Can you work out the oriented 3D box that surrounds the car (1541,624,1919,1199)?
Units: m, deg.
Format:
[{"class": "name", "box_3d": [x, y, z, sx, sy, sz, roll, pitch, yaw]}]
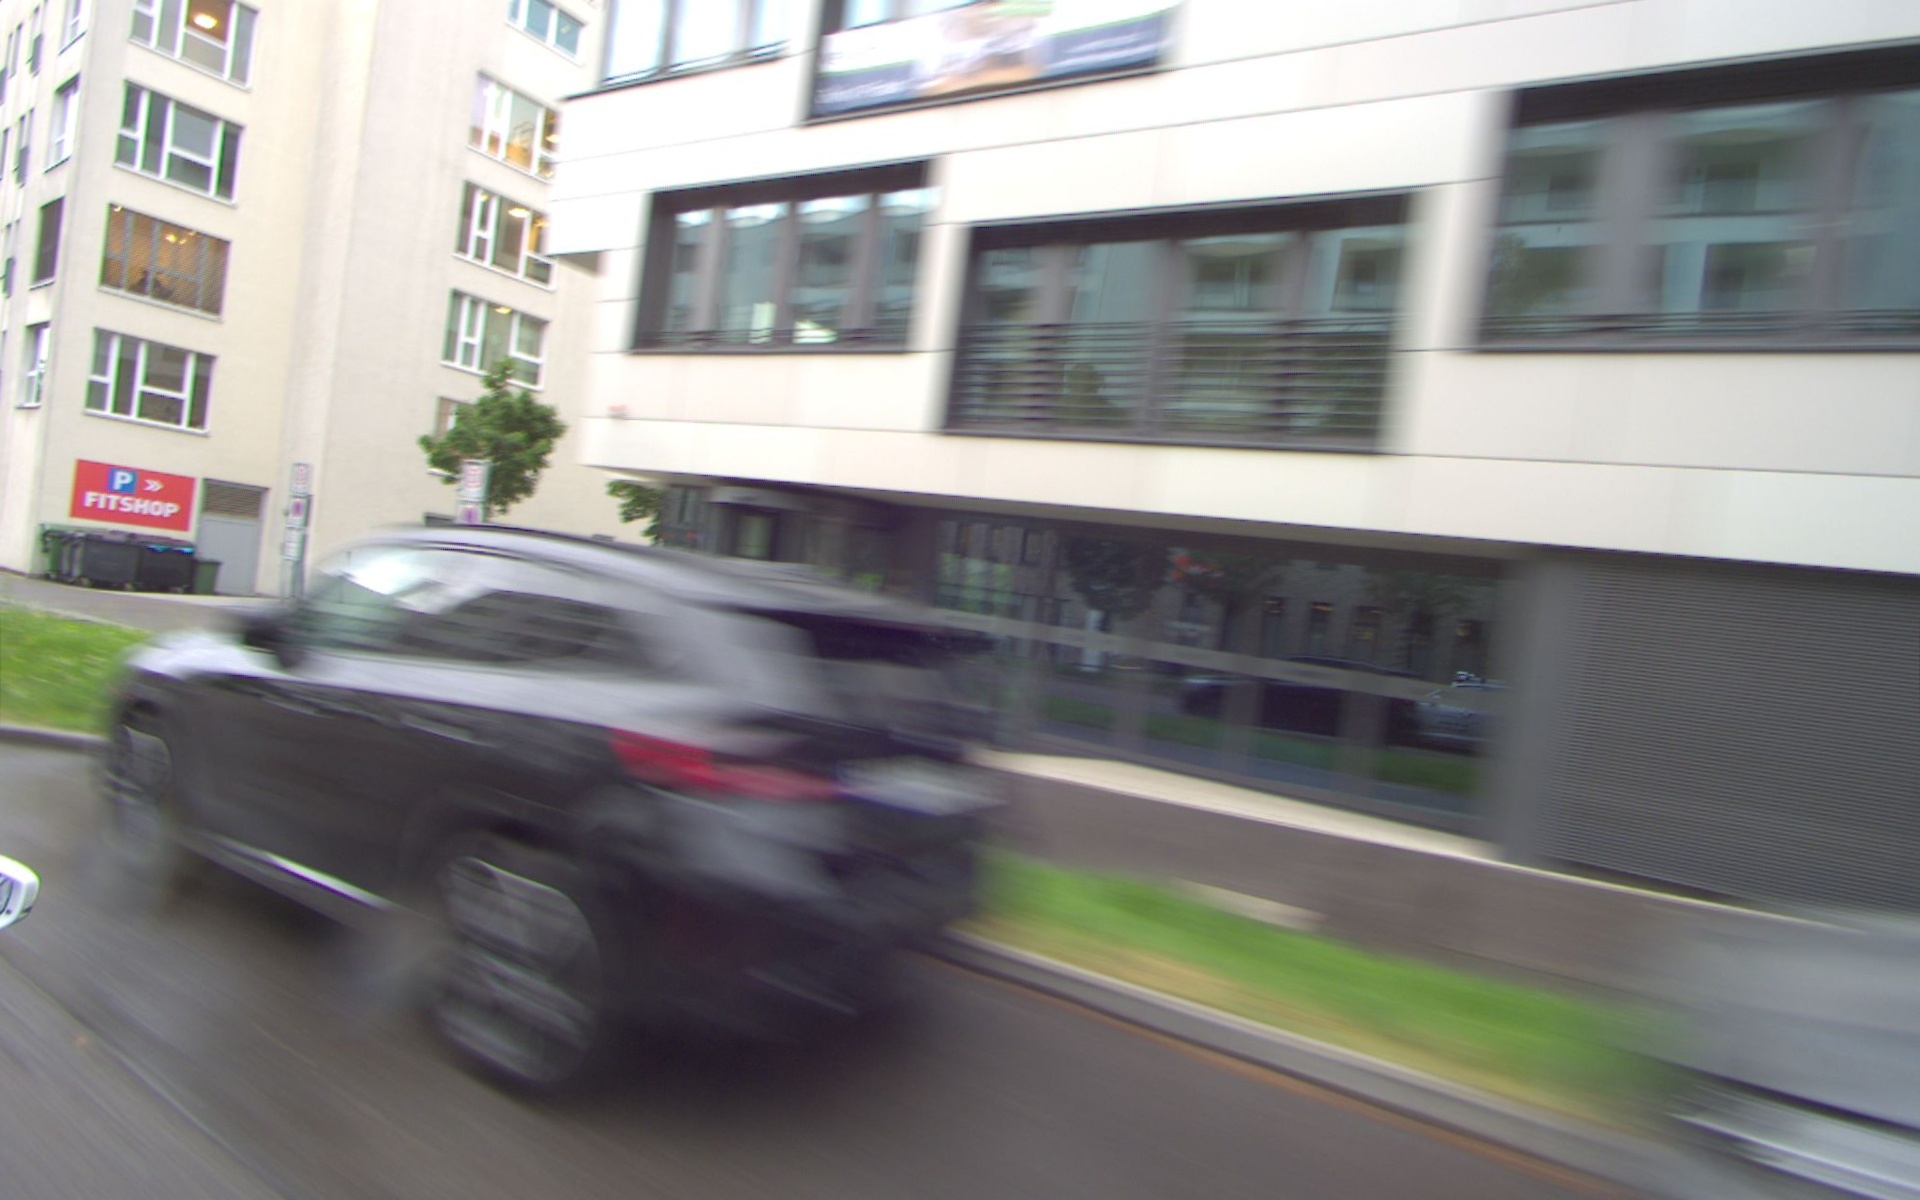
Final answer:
[{"class": "car", "box_3d": [3.161, 1.059, 1.088, 4.302, 1.624, 1.751, 4, -2, 32]}]

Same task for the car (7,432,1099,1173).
[{"class": "car", "box_3d": [-1.983, 0.340, 4.304, 4.634, 1.699, 1.810, 6, -1, 32]}]

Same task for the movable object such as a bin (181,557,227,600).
[{"class": "movable object such as a bin", "box_3d": [-20.446, -0.578, 27.199, 0.839, 1.039, 0.699, 5, -1, 34]}]

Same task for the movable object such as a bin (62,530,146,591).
[{"class": "movable object such as a bin", "box_3d": [-21.038, -0.959, 24.728, 1.173, 1.336, 1.235, 5, -1, 34]}]

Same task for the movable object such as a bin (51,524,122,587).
[{"class": "movable object such as a bin", "box_3d": [-21.900, -1.115, 25.226, 1.041, 1.419, 1.022, 5, -1, 34]}]

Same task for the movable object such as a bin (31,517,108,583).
[{"class": "movable object such as a bin", "box_3d": [-22.786, -1.271, 25.755, 0.998, 1.521, 1.174, 5, -1, 35]}]

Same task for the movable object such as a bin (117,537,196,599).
[{"class": "movable object such as a bin", "box_3d": [-21.062, -0.828, 26.386, 1.095, 1.419, 1.262, 5, -1, 34]}]
